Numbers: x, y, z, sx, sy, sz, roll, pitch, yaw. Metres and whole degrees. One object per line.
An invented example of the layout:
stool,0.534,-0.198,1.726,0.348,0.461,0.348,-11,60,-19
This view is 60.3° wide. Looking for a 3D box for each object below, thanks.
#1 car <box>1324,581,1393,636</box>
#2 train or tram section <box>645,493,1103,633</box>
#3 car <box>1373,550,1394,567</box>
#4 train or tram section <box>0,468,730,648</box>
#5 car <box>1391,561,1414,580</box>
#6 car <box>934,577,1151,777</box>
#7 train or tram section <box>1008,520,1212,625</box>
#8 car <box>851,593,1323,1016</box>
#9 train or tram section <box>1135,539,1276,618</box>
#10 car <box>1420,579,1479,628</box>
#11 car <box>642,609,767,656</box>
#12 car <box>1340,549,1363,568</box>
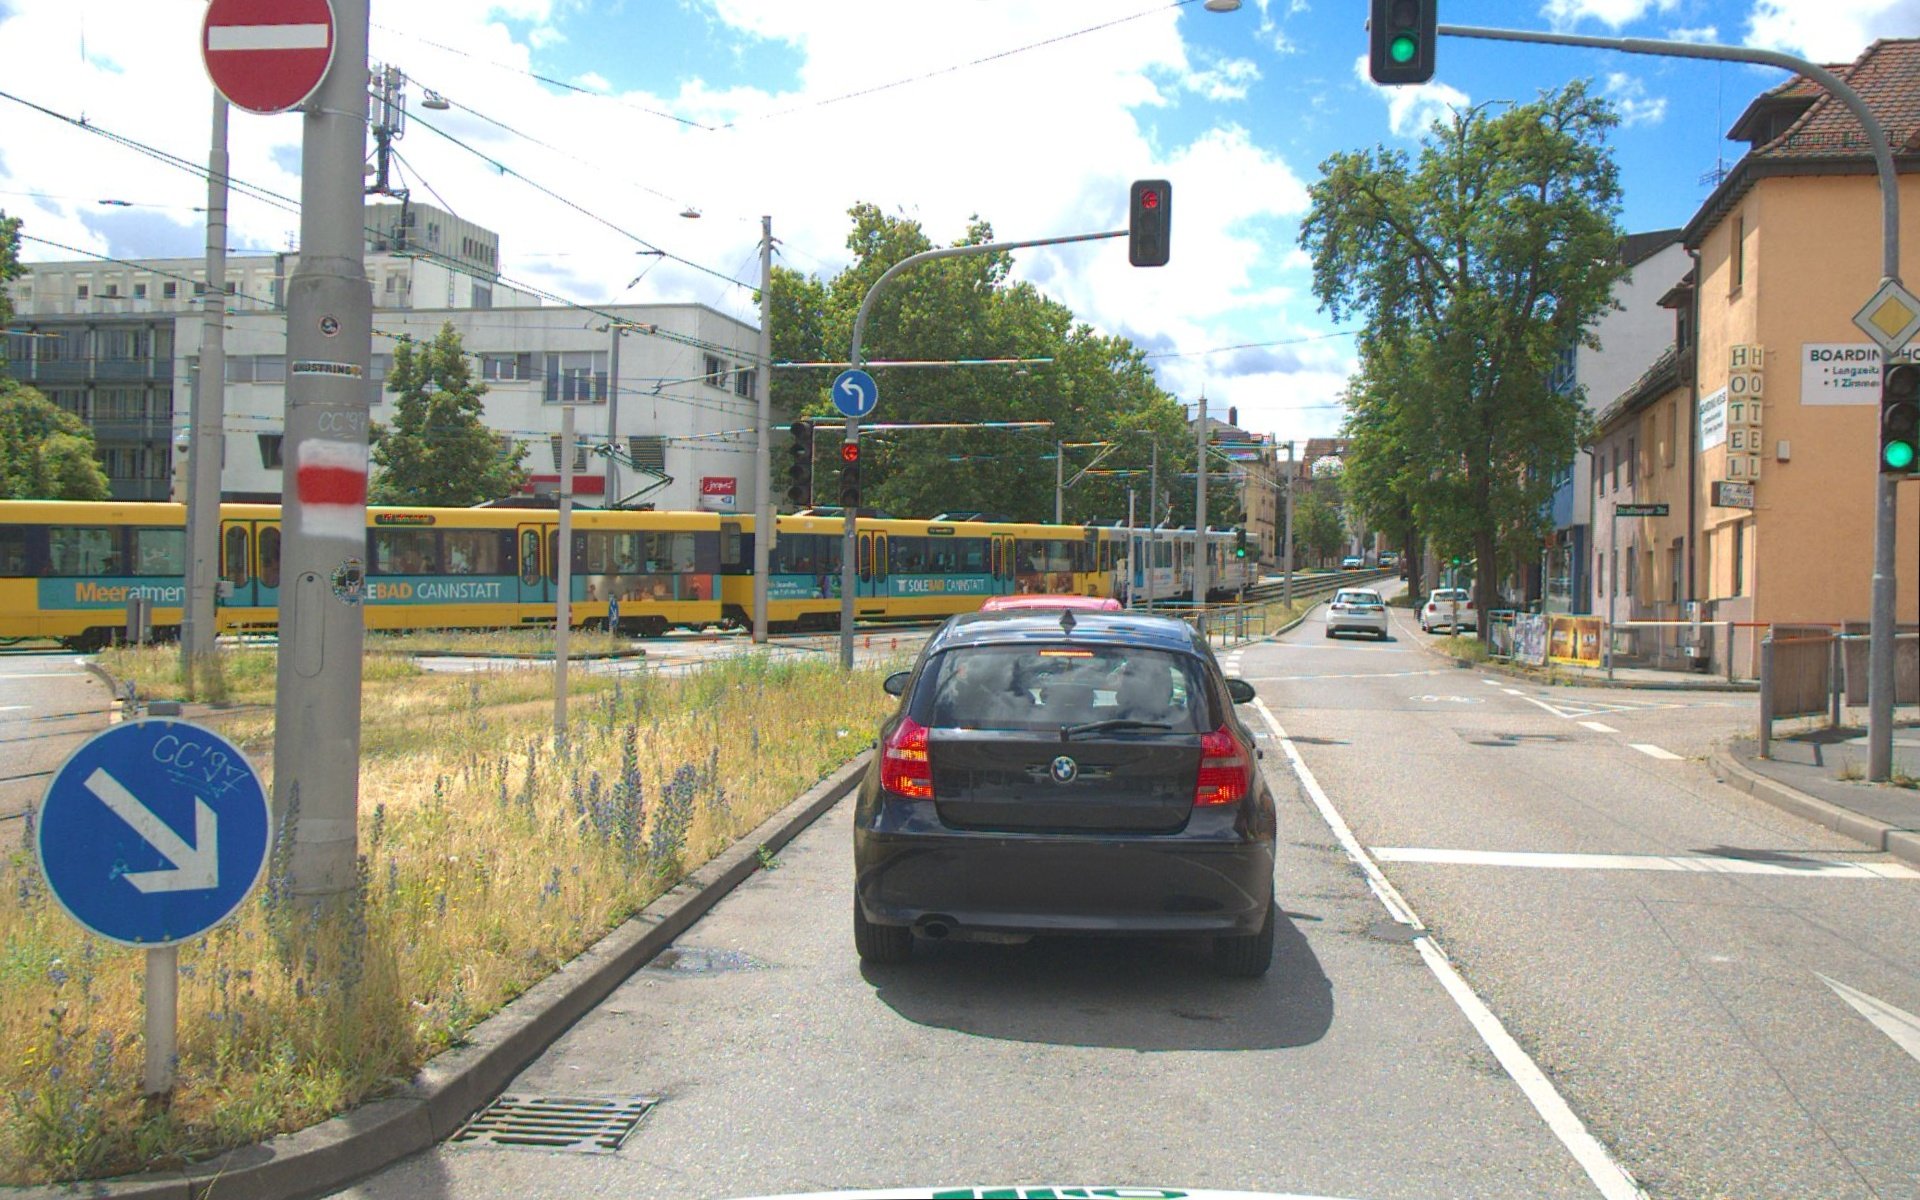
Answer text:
car,12.123,0.228,50.482,1.777,1.494,4.004,4,1,11
train or tram section,-1.910,-0.995,55.443,3.686,3.896,20.074,-1,-1,35
car,53.277,-5.232,208.063,1.953,2.049,3.999,-1,-1,22
train or tram section,-15.221,-0.934,42.809,18.663,3.988,3.718,0,-1,-34
car,37.029,-2.452,138.524,1.777,1.494,4.003,3,1,15
car,0.845,0.599,14.470,1.590,1.499,4.003,-1,-1,7
train or tram section,7.153,-0.985,72.575,3.671,3.947,20.638,-1,-1,20
car,0.408,0.740,7.877,1.666,1.477,3.999,-1,-1,-1
train or tram section,13.918,-1.006,91.131,3.671,3.881,20.054,-1,-1,20
car,16.945,0.119,57.377,1.749,1.624,4.003,-1,-1,14
car,-9.088,1.132,59.028,4.135,1.613,1.830,0,-1,-43
car,44.734,-4.725,188.877,1.953,2.049,3.999,-1,-1,22
